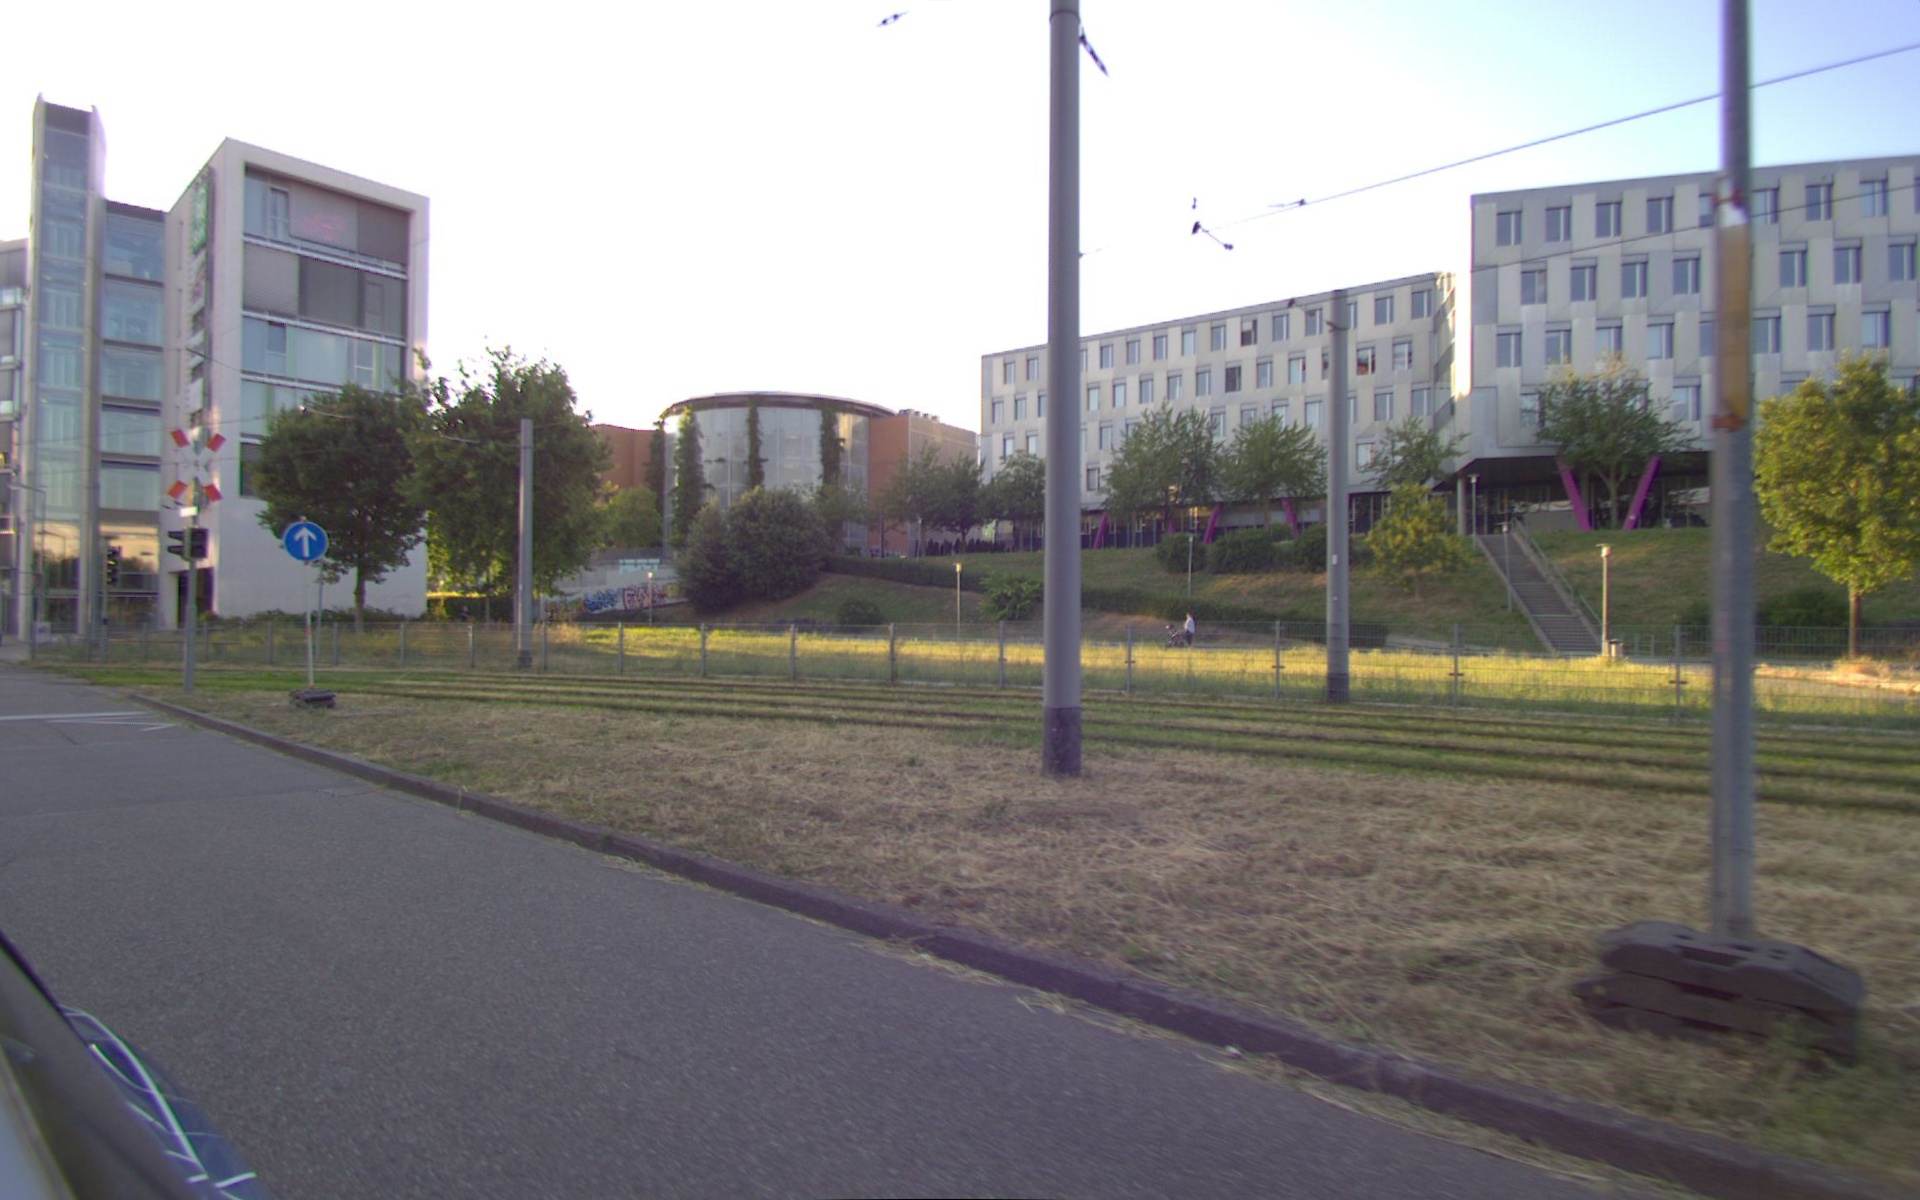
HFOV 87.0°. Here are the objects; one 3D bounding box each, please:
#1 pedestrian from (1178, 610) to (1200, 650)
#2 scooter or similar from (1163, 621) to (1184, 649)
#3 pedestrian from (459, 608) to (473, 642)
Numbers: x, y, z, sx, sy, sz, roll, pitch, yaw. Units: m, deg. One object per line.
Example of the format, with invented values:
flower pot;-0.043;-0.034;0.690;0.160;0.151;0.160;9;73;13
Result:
pedestrian;10.766;1.417;47.483;0.790;1.850;0.610;-1;0;41
scooter or similar;10.130;1.655;48.067;0.790;1.253;0.610;-1;0;41
pedestrian;-26.987;1.379;55.302;0.480;1.850;0.446;-1;0;21
